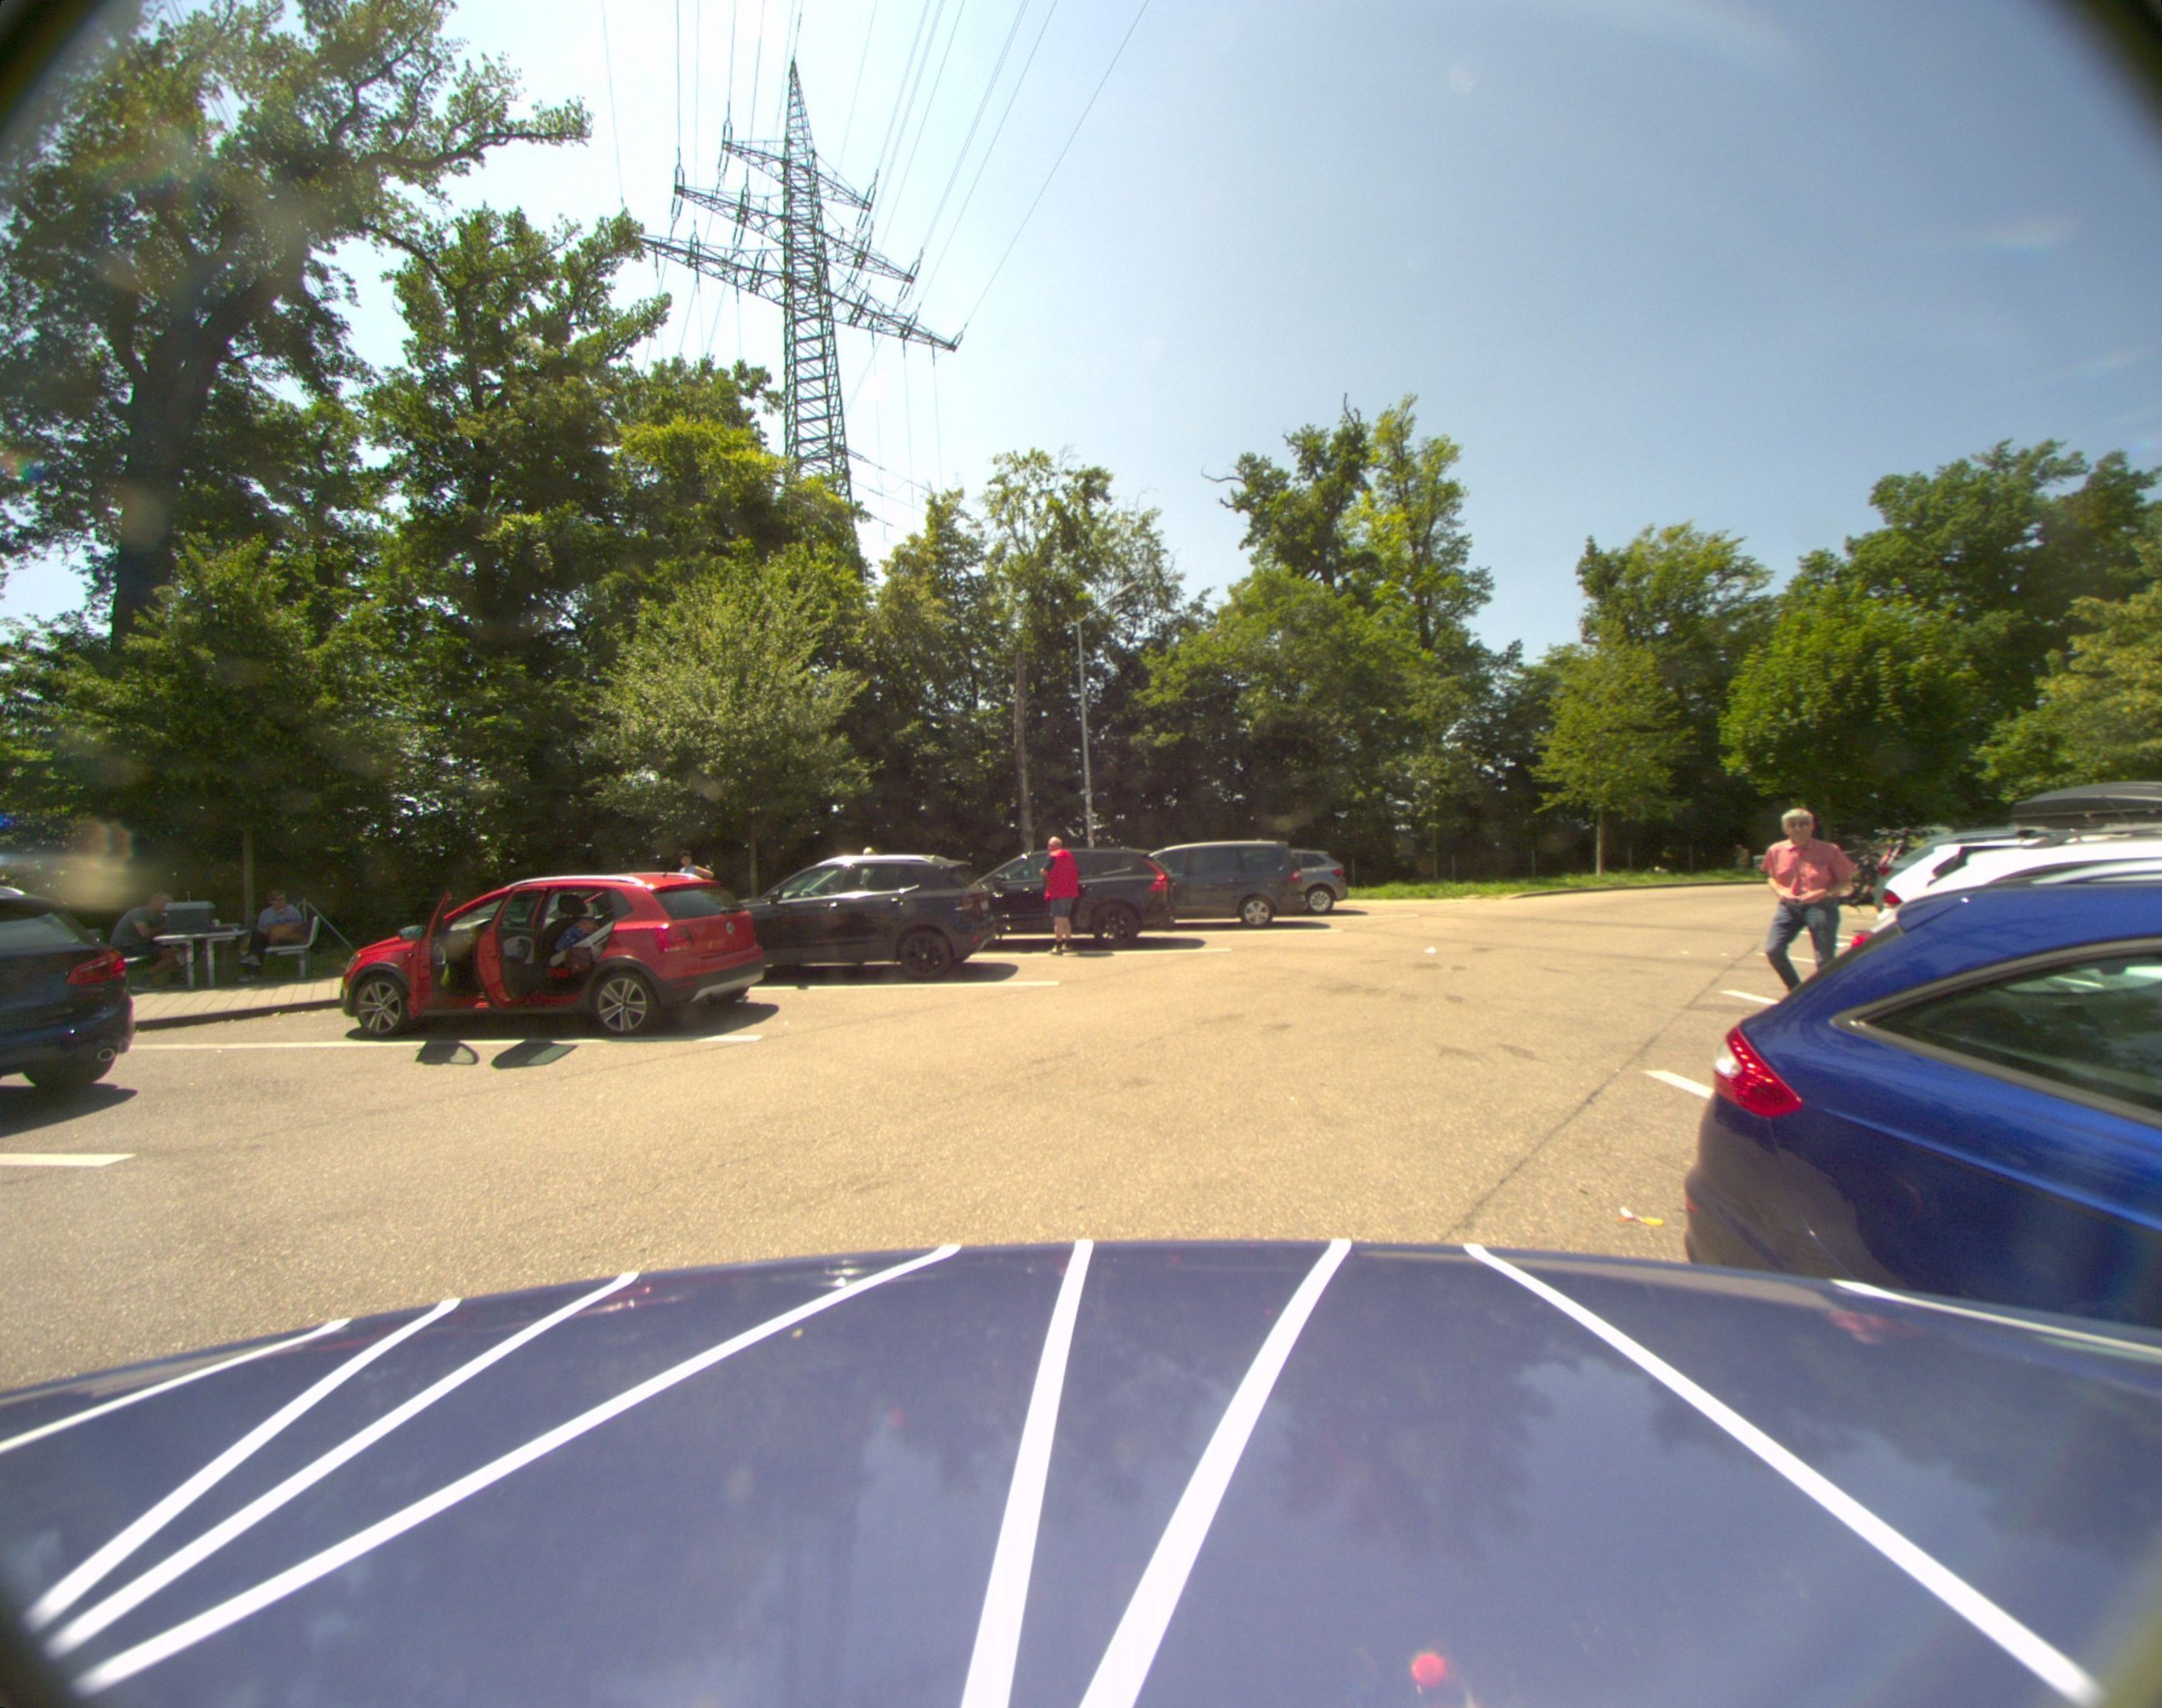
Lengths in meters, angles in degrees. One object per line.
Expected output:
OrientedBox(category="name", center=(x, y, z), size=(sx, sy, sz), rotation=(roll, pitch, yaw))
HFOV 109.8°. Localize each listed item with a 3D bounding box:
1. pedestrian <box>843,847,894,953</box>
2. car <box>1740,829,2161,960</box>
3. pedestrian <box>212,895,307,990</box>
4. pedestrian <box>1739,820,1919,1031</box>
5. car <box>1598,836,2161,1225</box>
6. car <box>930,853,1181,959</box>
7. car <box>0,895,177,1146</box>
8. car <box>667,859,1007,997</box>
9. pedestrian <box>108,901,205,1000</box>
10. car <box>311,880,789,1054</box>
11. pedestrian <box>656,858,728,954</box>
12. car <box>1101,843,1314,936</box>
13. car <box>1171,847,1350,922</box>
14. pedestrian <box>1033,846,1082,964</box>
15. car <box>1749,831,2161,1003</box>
OrientedBox(category="pedestrian", center=(-3.860, 0.811, 13.777), size=(0.682, 1.854, 0.713), rotation=(-2, 0, -30))
OrientedBox(category="car", center=(12.362, 0.478, 10.946), size=(1.779, 1.456, 4.470), rotation=(-2, -1, 0))
OrientedBox(category="pedestrian", center=(-11.923, 1.269, 11.038), size=(0.828, 1.287, 0.672), rotation=(-2, 0, 24))
OrientedBox(category="pedestrian", center=(6.068, 0.553, 6.211), size=(0.672, 1.592, 0.759), rotation=(-2, 0, 1))
OrientedBox(category="car", center=(4.952, 0.656, 3.690), size=(1.779, 1.456, 4.470), rotation=(-2, -1, 0))
OrientedBox(category="car", center=(-0.330, 0.841, 12.963), size=(3.964, 1.582, 1.781), rotation=(-2, 0, 8))
OrientedBox(category="car", center=(-8.922, 1.156, 5.007), size=(4.011, 1.558, 1.846), rotation=(-2, 0, 6))
OrientedBox(category="car", center=(-3.150, 0.939, 10.385), size=(3.966, 1.582, 1.841), rotation=(-2, 0, 3))
OrientedBox(category="pedestrian", center=(-12.740, 1.305, 10.481), size=(0.652, 1.262, 0.672), rotation=(-2, 0, 24))
OrientedBox(category="car", center=(-5.197, 1.072, 7.725), size=(3.704, 1.448, 1.781), rotation=(-2, 0, 7))
OrientedBox(category="pedestrian", center=(-6.702, 0.872, 13.106), size=(0.713, 1.584, 0.811), rotation=(-2, 0, 36))
OrientedBox(category="car", center=(2.506, 0.698, 15.455), size=(3.964, 1.678, 1.781), rotation=(-2, 0, 7))
OrientedBox(category="car", center=(4.175, 0.715, 18.207), size=(3.964, 1.577, 1.781), rotation=(-2, 0, 7))
OrientedBox(category="pedestrian", center=(-0.348, 0.770, 11.672), size=(0.660, 1.745, 0.636), rotation=(-2, 0, 1))
OrientedBox(category="car", center=(10.060, 0.534, 8.162), size=(1.779, 1.456, 4.470), rotation=(-2, -1, 0))
